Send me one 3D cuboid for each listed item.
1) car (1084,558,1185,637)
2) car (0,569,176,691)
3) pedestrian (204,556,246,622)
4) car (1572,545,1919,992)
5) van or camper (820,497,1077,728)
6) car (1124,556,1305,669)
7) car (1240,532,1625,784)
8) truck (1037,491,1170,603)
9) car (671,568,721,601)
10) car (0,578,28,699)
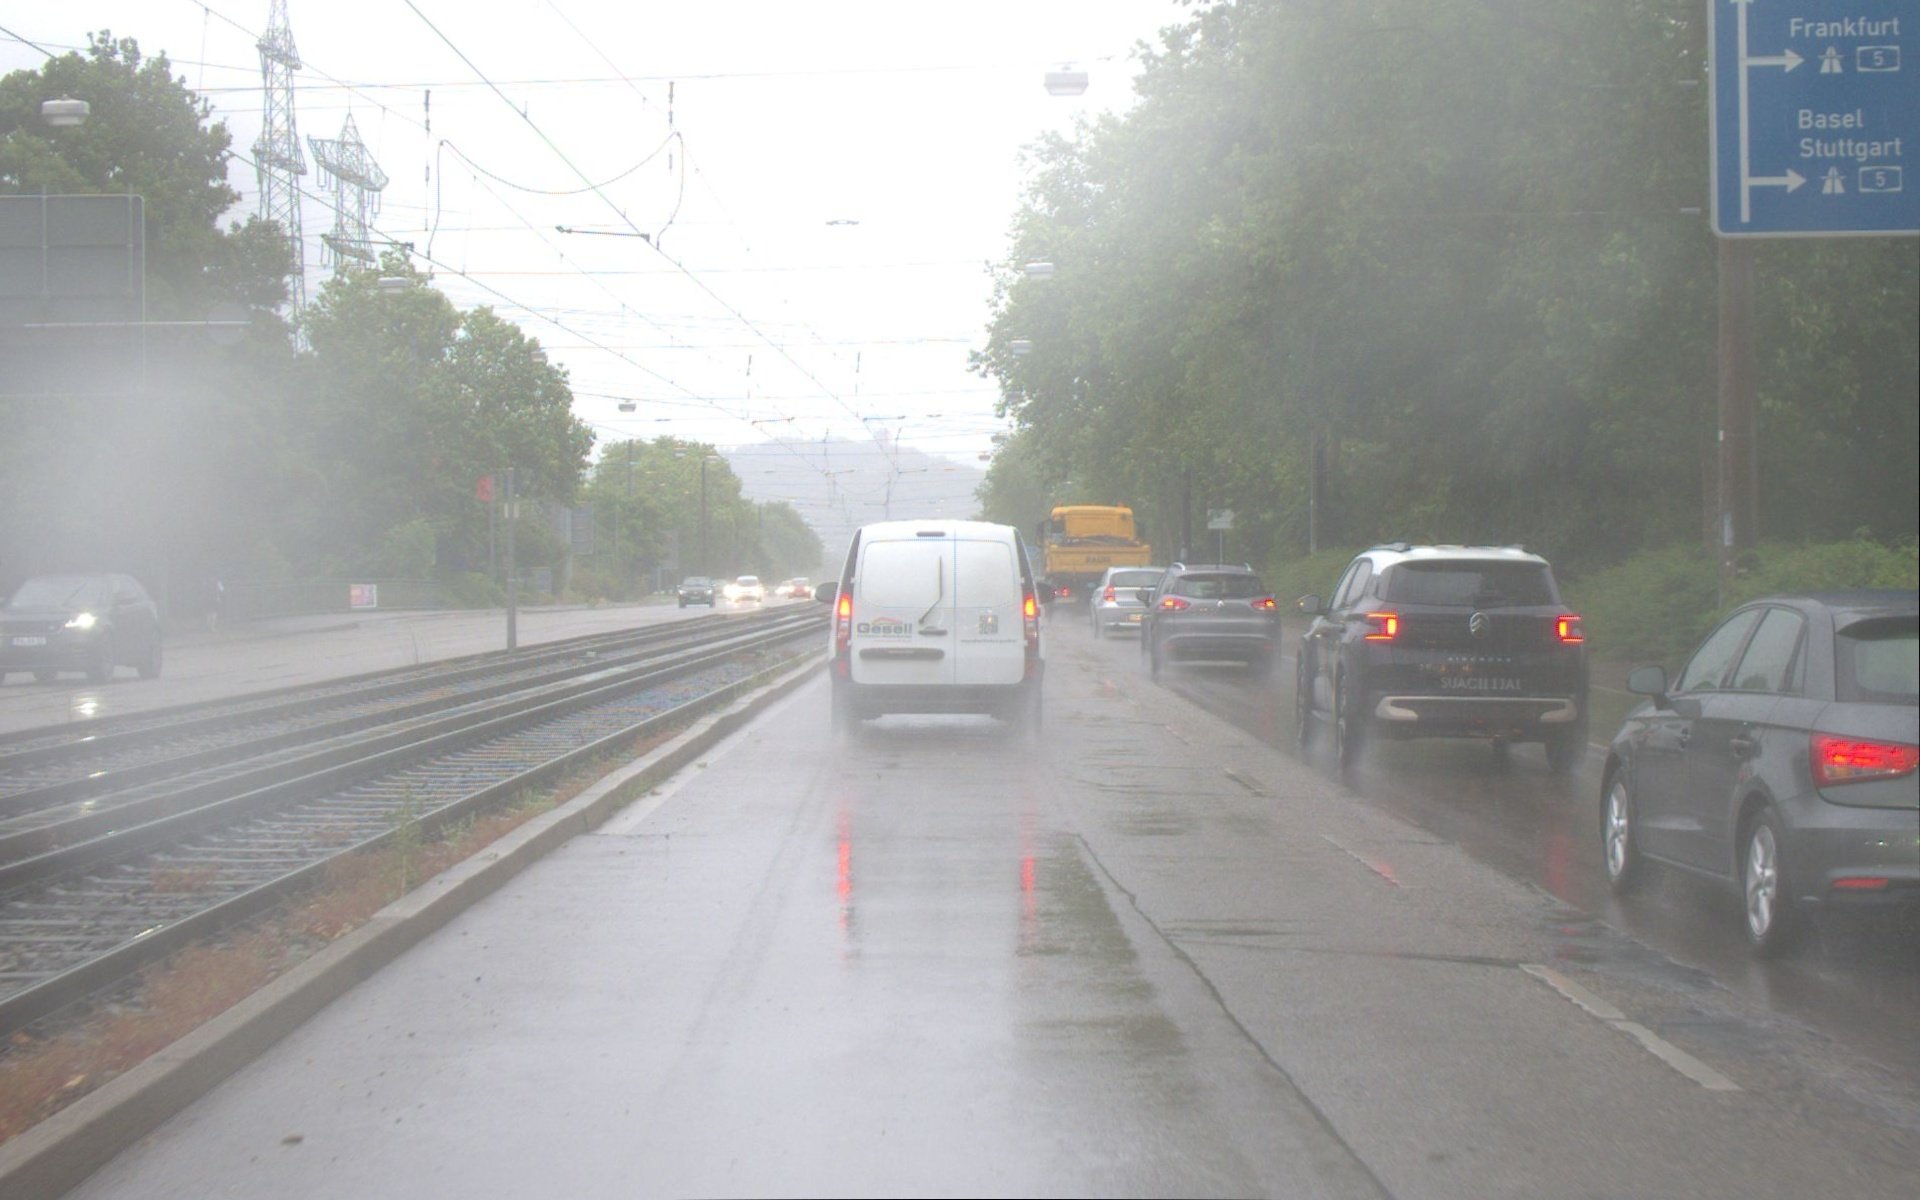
[{"bbox_3d":[3.364,-0.074,66.842,1.818,1.409,3.778,1,1,1],"label":"car"},{"bbox_3d":[-13.581,0.426,52.543,1.993,1.715,4.882,-1,1,1],"label":"car"},{"bbox_3d":[-19.774,-0.306,92.516,0.851,1.753,1.121,-1,1,1],"label":"pedestrian"},{"bbox_3d":[3.887,0.568,14.004,1.967,1.523,3.991,1,1,-1],"label":"car"},{"bbox_3d":[-0.165,0.040,29.236,1.993,1.778,4.001,1,2,-2],"label":"van or camper"},{"bbox_3d":[3.412,0.144,46.719,1.818,1.409,3.779,1,1,-6],"label":"car"},{"bbox_3d":[3.484,0.359,26.295,1.899,1.711,4.726,1,1,-5],"label":"car"},{"bbox_3d":[3.621,-1.363,88.173,3.113,2.764,6.329,0,1,0],"label":"truck"},{"bbox_3d":[-13.255,-0.796,172.765,1.993,1.612,4.253,-1,1,2],"label":"car"},{"bbox_3d":[-13.694,0.553,44.033,1.994,1.578,4.766,-1,1,3],"label":"car"}]
